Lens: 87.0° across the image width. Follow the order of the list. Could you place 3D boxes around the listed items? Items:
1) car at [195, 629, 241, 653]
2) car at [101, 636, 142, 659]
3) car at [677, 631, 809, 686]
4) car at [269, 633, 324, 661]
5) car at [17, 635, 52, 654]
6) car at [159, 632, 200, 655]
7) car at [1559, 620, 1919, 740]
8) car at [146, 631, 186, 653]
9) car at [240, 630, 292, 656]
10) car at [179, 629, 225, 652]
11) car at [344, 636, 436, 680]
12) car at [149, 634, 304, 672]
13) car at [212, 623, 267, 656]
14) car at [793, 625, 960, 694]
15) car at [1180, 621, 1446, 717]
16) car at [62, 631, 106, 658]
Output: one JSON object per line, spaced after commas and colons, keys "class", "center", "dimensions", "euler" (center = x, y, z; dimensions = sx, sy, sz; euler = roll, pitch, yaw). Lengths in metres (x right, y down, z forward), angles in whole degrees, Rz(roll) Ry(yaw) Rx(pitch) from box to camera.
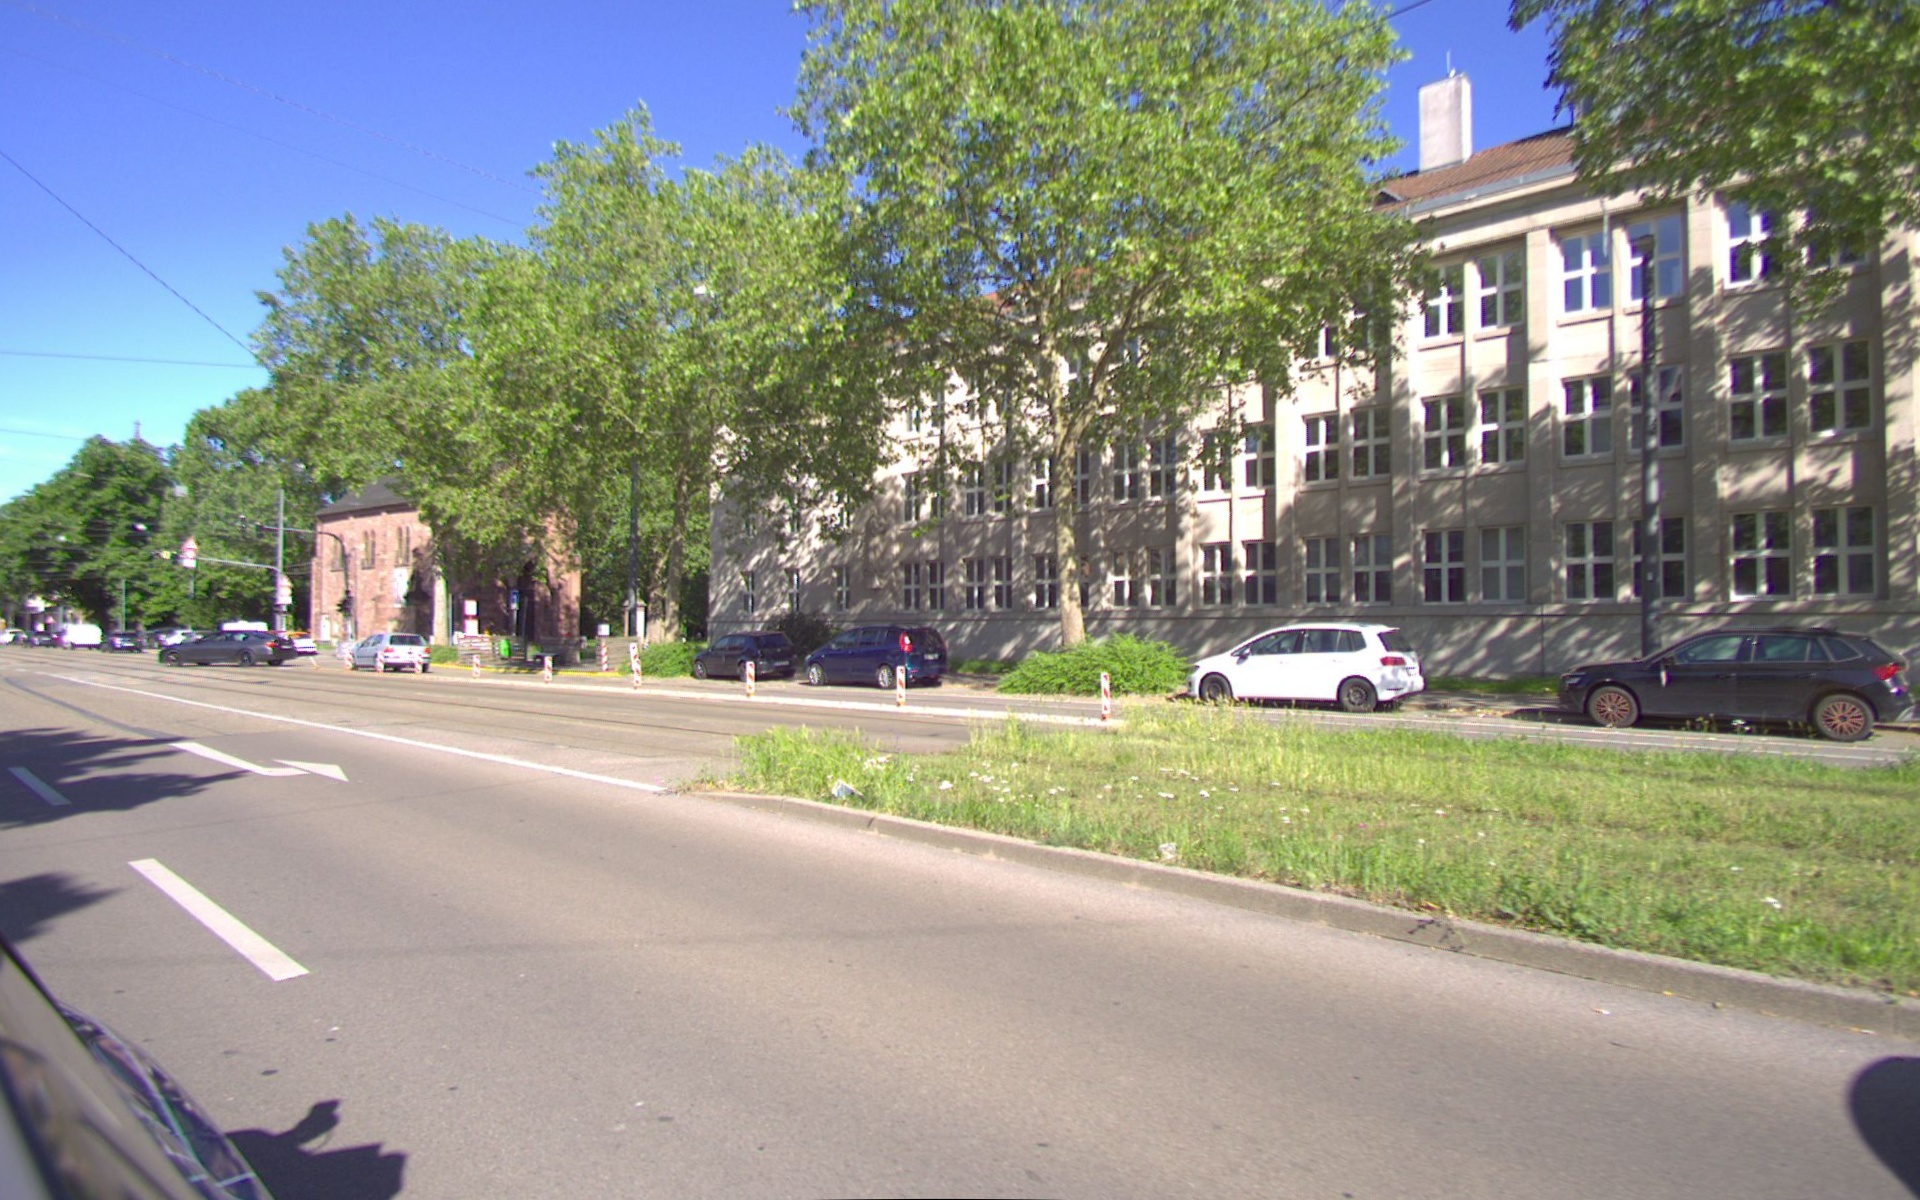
{"class": "car", "center": [-51.912, 2.834, 70.796], "dimensions": [3.858, 1.563, 1.772], "euler": [-1, -1, 41]}
{"class": "car", "center": [-55.493, 3.156, 66.965], "dimensions": [4.090, 1.423, 1.597], "euler": [-1, -3, 44]}
{"class": "car", "center": [-6.614, 1.730, 30.648], "dimensions": [4.185, 1.559, 1.655], "euler": [-2, -3, 39]}
{"class": "car", "center": [-39.731, 2.805, 60.601], "dimensions": [3.673, 1.586, 1.757], "euler": [-2, -2, 39]}
{"class": "car", "center": [-79.331, 3.791, 86.771], "dimensions": [4.374, 1.440, 1.774], "euler": [-1, -1, 41]}
{"class": "car", "center": [-59.865, 3.313, 77.609], "dimensions": [4.305, 1.563, 1.772], "euler": [-1, -1, 42]}
{"class": "car", "center": [11.325, 1.080, 14.738], "dimensions": [4.181, 1.504, 1.810], "euler": [-2, -3, 42]}
{"class": "car", "center": [-63.334, 3.327, 80.687], "dimensions": [4.305, 1.563, 1.772], "euler": [-1, -1, 42]}
{"class": "car", "center": [-43.814, 2.693, 63.870], "dimensions": [3.858, 1.563, 1.772], "euler": [-1, -1, 41]}
{"class": "car", "center": [-55.426, 2.912, 73.962], "dimensions": [4.303, 1.563, 1.772], "euler": [-1, -1, 40]}
{"class": "car", "center": [-20.903, 2.071, 37.032], "dimensions": [4.171, 1.464, 1.809], "euler": [-1, -2, 44]}
{"class": "car", "center": [-29.171, 2.084, 40.328], "dimensions": [4.892, 1.464, 1.835], "euler": [0, -1, 1]}
{"class": "car", "center": [-47.761, 2.582, 67.058], "dimensions": [4.589, 2.112, 1.896], "euler": [-1, -1, 40]}
{"class": "car", "center": [-2.261, 1.520, 26.687], "dimensions": [4.391, 1.651, 1.811], "euler": [-2, -3, 39]}
{"class": "car", "center": [6.547, 1.196, 19.032], "dimensions": [4.391, 1.600, 1.811], "euler": [-1, -2, 40]}
{"class": "car", "center": [-66.273, 3.340, 76.552], "dimensions": [4.517, 1.905, 2.038], "euler": [-1, -2, 43]}
